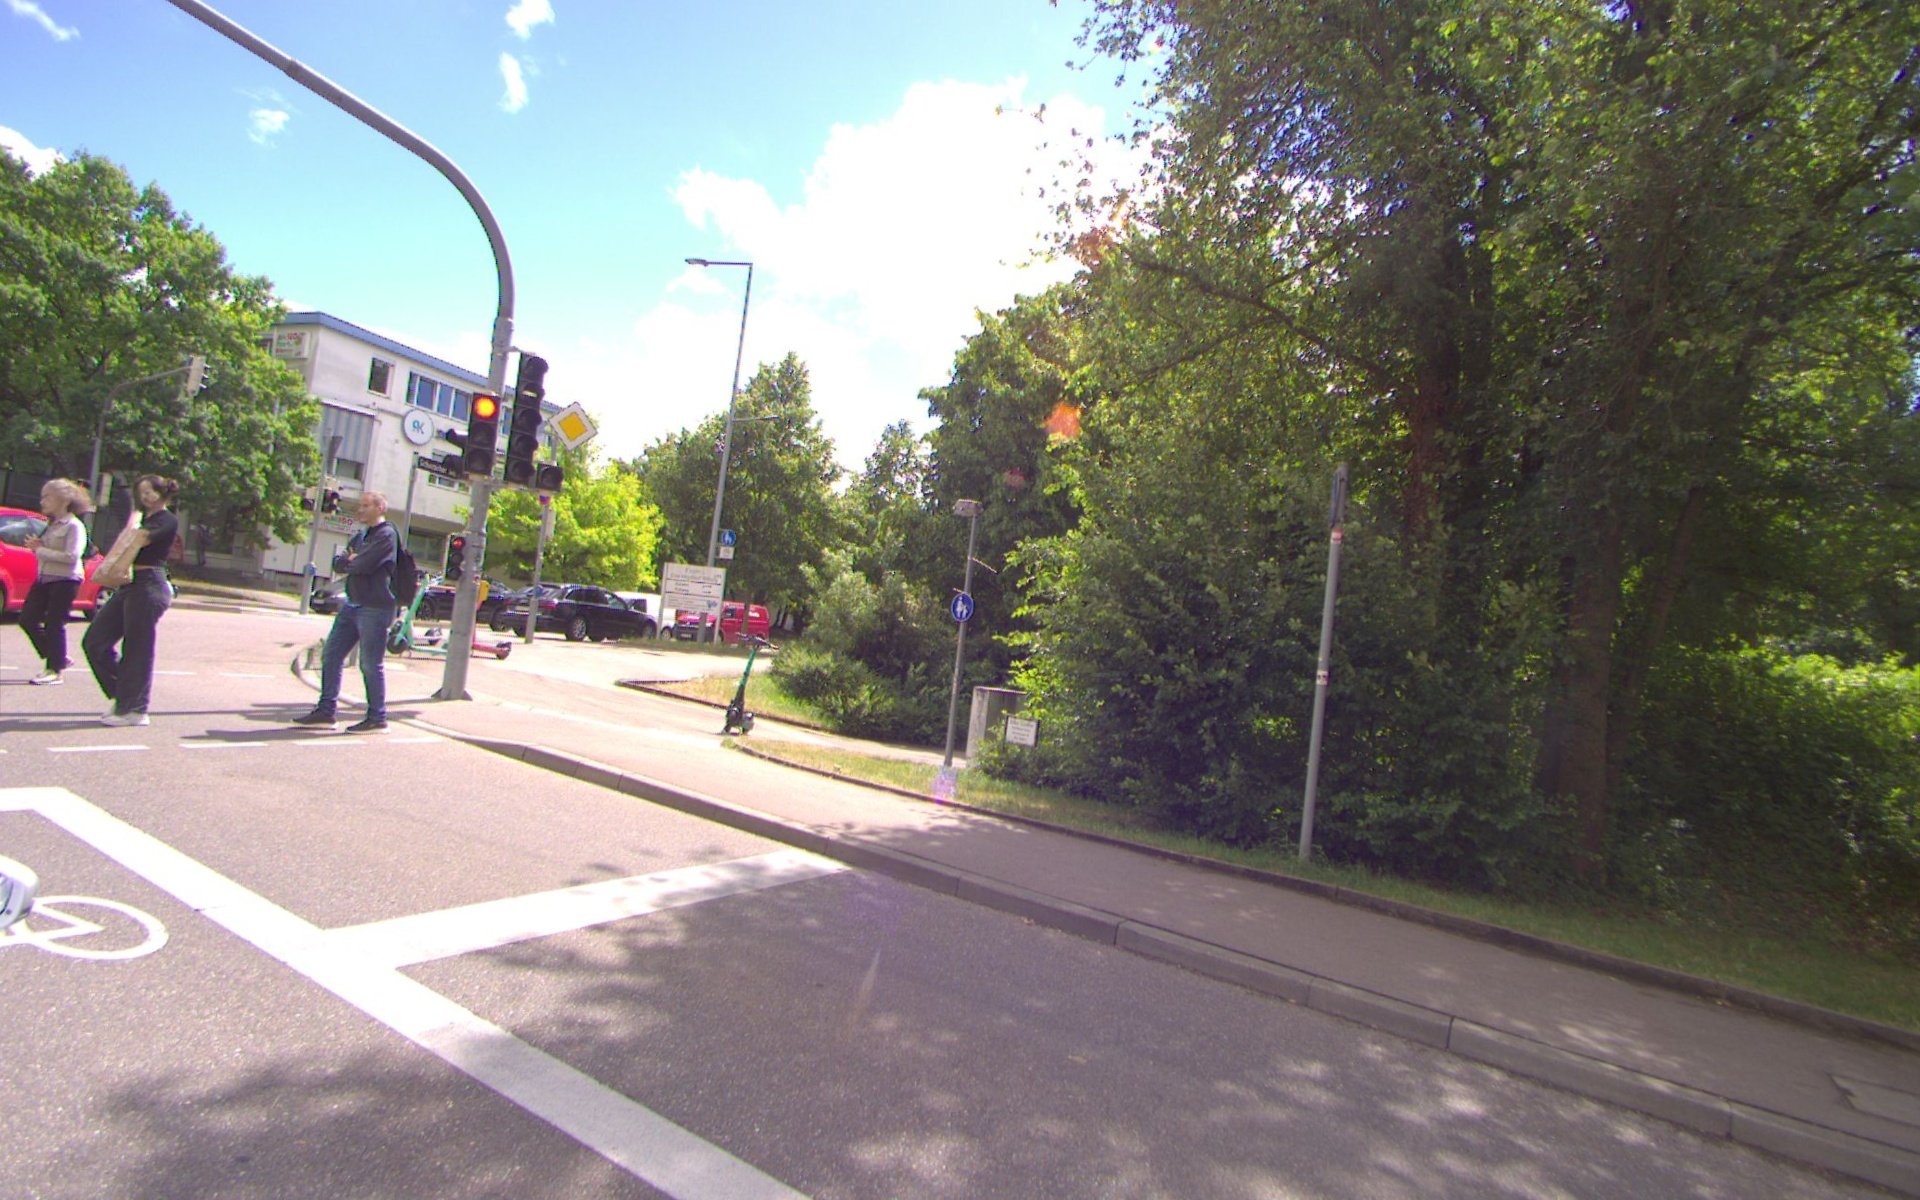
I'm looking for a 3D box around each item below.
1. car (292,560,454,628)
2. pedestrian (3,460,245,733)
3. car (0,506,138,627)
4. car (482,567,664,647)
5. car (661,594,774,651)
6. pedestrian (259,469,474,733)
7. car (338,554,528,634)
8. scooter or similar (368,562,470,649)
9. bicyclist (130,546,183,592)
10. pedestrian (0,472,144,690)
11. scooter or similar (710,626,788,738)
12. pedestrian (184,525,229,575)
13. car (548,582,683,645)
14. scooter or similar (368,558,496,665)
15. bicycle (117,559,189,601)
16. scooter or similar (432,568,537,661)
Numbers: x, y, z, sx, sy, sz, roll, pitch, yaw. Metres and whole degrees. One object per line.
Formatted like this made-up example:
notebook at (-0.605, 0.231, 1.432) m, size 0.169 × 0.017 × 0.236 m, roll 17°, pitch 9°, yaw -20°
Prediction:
car at (-18.385, -0.140, 31.730) m, size 1.963 × 1.573 × 3.923 m, roll 7°, pitch -2°, yaw 21°
pedestrian at (-6.019, -0.007, 7.290) m, size 0.758 × 1.787 × 0.936 m, roll 7°, pitch 0°, yaw 20°
car at (-12.633, -0.498, 13.132) m, size 1.523 × 1.458 × 3.190 m, roll 8°, pitch -2°, yaw -13°
car at (-10.010, 0.263, 26.453) m, size 1.962 × 1.571 × 4.526 m, roll 7°, pitch -2°, yaw 17°
car at (-10.000, 1.002, 41.965) m, size 1.964 × 1.885 × 4.822 m, roll 5°, pitch -3°, yaw 22°
pedestrian at (-4.806, 0.027, 8.185) m, size 0.881 × 1.964 × 0.969 m, roll 7°, pitch -1°, yaw 28°
car at (-15.364, -0.112, 29.622) m, size 1.964 × 1.737 × 4.574 m, roll 7°, pitch -2°, yaw 25°
scooter or similar at (-8.319, 0.111, 15.534) m, size 0.533 × 1.168 × 1.362 m, roll 9°, pitch -3°, yaw 7°
bicyclist at (-20.441, -0.786, 25.598) m, size 0.625 × 1.034 × 0.793 m, roll 7°, pitch -2°, yaw 31°
pedestrian at (-7.687, -0.153, 8.563) m, size 0.950 × 1.694 × 0.860 m, roll 7°, pitch -1°, yaw -43°
scooter or similar at (-2.718, 1.084, 13.123) m, size 0.706 × 1.287 × 1.243 m, roll 10°, pitch -7°, yaw -7°
pedestrian at (-27.654, -1.825, 36.915) m, size 0.890 × 1.662 × 0.772 m, roll 7°, pitch -1°, yaw 16°
car at (-12.422, 0.545, 36.624) m, size 1.963 × 1.737 × 4.576 m, roll 7°, pitch -2°, yaw 23°
scooter or similar at (-7.257, 0.183, 13.871) m, size 0.455 × 1.292 × 1.344 m, roll 8°, pitch -1°, yaw 38°
bicycle at (-20.600, -0.505, 25.672) m, size 1.778 × 0.828 × 0.793 m, roll 6°, pitch -2°, yaw 32°
scooter or similar at (-7.305, 0.245, 15.504) m, size 0.547 × 1.254 × 1.232 m, roll 8°, pitch -3°, yaw 23°
